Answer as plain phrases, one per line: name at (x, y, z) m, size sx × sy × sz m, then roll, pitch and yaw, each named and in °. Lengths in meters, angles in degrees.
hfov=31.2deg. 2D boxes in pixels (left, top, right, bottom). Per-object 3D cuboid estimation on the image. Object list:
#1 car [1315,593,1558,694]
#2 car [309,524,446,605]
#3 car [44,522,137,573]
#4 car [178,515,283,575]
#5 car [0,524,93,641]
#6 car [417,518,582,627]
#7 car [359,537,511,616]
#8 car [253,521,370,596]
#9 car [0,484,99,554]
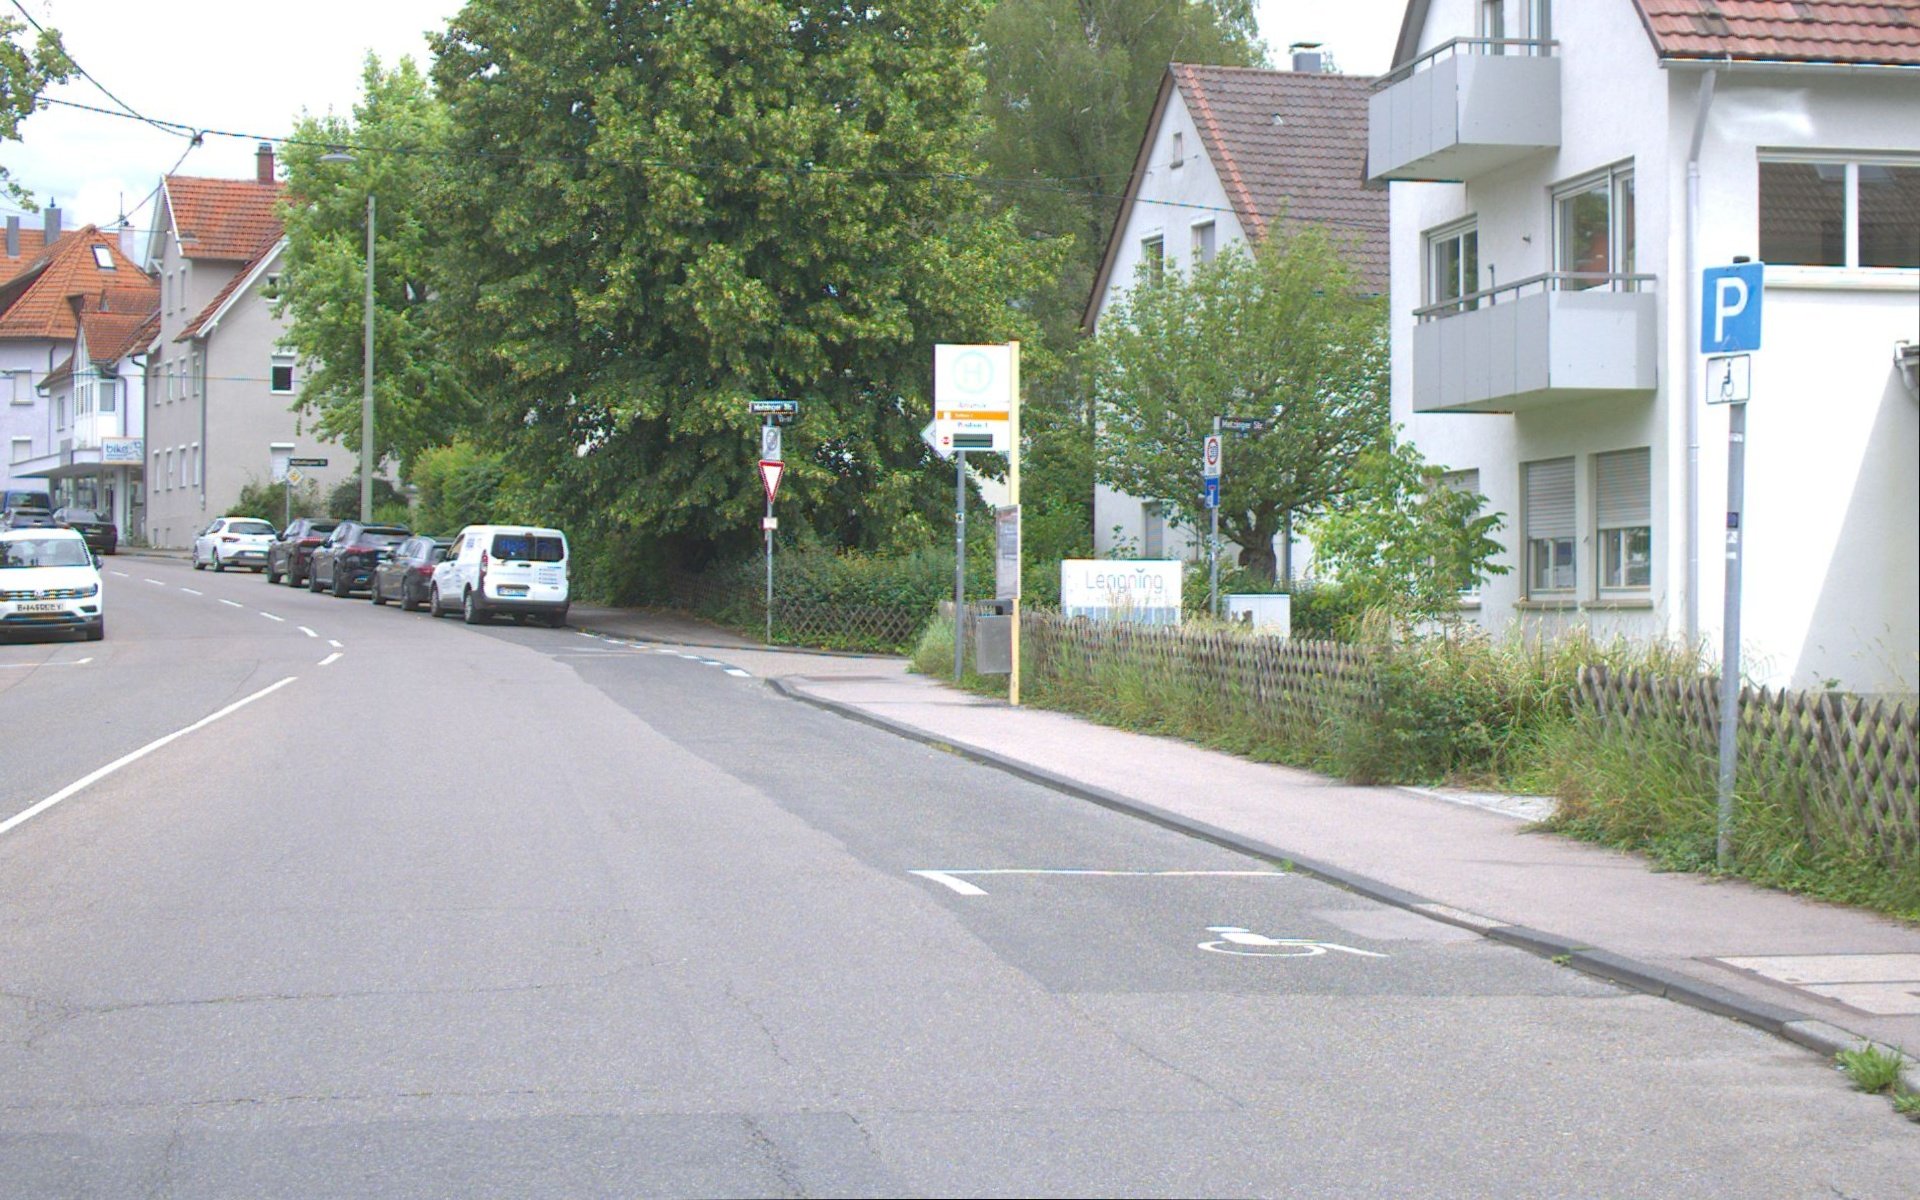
car at (8.068, 0.739, 58.224) m, size 3.696 × 1.558 × 1.688 m, roll 3°, pitch -1°, yaw -24°
car at (-12.645, -0.790, 74.421) m, size 1.993 × 1.610 × 4.541 m, roll 3°, pitch 0°, yaw -21°
car at (-28.819, -1.755, 113.897) m, size 1.993 × 1.512 × 4.893 m, roll 3°, pitch 1°, yaw -26°
car at (-19.209, -1.462, 90.411) m, size 1.940 × 1.434 × 4.001 m, roll 2°, pitch 1°, yaw -23°
car at (-14.320, -0.303, 52.774) m, size 1.849 × 1.708 × 4.576 m, roll -1°, pitch 2°, yaw -15°
car at (-8.476, -0.528, 62.985) m, size 1.837 × 1.768 × 4.319 m, roll 3°, pitch 1°, yaw -23°
car at (-10.430, -0.485, 68.041) m, size 1.993 × 1.473 × 4.621 m, roll 1°, pitch 1°, yaw -21°
car at (-15.072, -0.986, 79.793) m, size 1.810 × 1.610 × 4.541 m, roll 3°, pitch 0°, yaw -21°
car at (-27.901, -2.494, 105.190) m, size 2.152 × 2.007 × 4.001 m, roll 2°, pitch 1°, yaw -26°
